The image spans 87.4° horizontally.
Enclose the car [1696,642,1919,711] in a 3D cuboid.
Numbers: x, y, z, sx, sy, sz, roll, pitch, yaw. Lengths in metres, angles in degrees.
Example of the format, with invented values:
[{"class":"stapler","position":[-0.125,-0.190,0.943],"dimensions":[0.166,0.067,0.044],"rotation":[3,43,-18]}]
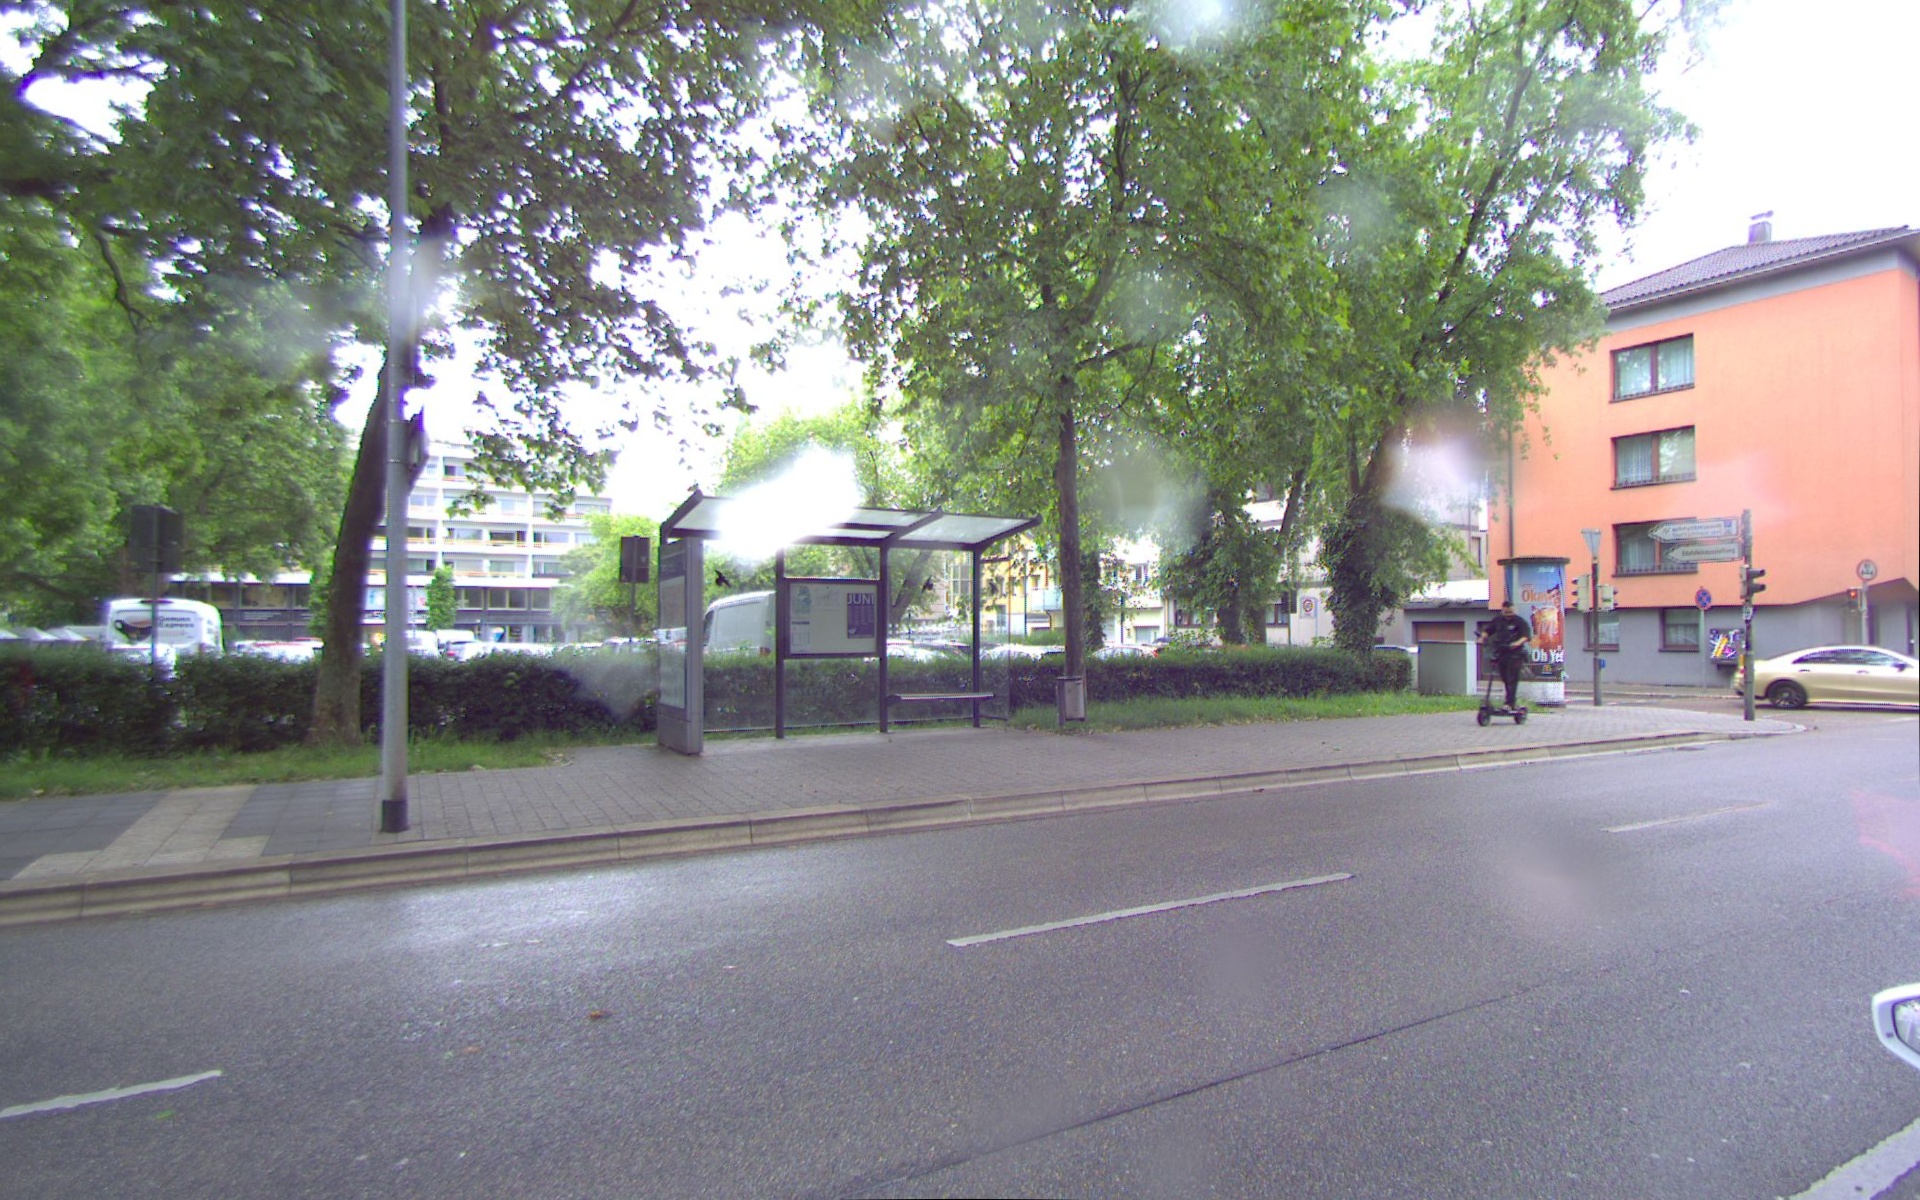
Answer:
[{"class":"car","position":[19.489,1.671,22.476],"dimensions":[1.818,1.422,4.594],"rotation":[2,-3,-42]}]

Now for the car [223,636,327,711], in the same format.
[{"class":"car","position":[-16.871,1.754,24.902],"dimensions":[1.876,1.506,3.966],"rotation":[2,0,-31]}]

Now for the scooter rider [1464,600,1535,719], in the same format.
[{"class":"scooter rider","position":[8.364,0.909,15.580],"dimensions":[0.637,1.789,0.730],"rotation":[2,-2,-29]}]

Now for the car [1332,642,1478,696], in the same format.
[{"class":"car","position":[13.474,2.059,30.460],"dimensions":[3.802,1.553,1.796],"rotation":[-2,-3,34]}]

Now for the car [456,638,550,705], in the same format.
[{"class":"car","position":[-12.528,1.883,27.412],"dimensions":[1.876,1.506,3.966],"rotation":[2,0,-31]}]

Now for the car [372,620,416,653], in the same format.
[{"class":"car","position":[-32.491,2.072,57.614],"dimensions":[2.075,1.745,3.966],"rotation":[2,0,-31]}]

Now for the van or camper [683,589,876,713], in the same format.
[{"class":"van or camper","position":[-3.450,0.892,18.436],"dimensions":[1.978,1.975,4.572],"rotation":[1,-2,-31]}]

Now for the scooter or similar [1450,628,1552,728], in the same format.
[{"class":"scooter or similar","position":[8.407,1.181,15.608],"dimensions":[1.382,1.465,0.810],"rotation":[1,0,-31]}]

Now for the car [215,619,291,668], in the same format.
[{"class":"car","position":[-25.067,1.510,35.741],"dimensions":[1.876,1.506,3.966],"rotation":[2,0,-31]}]

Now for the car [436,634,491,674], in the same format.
[{"class":"car","position":[-22.122,2.380,44.690],"dimensions":[1.876,1.506,3.966],"rotation":[2,0,-31]}]

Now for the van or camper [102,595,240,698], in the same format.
[{"class":"van or camper","position":[-20.638,1.202,26.490],"dimensions":[2.073,2.463,4.310],"rotation":[1,-2,-28]}]

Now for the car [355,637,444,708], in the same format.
[{"class":"car","position":[-14.621,1.821,26.120],"dimensions":[1.876,1.506,3.966],"rotation":[2,0,-31]}]

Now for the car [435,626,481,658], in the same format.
[{"class":"car","position":[-26.980,2.236,53.944],"dimensions":[1.876,1.506,3.966],"rotation":[2,0,-31]}]
